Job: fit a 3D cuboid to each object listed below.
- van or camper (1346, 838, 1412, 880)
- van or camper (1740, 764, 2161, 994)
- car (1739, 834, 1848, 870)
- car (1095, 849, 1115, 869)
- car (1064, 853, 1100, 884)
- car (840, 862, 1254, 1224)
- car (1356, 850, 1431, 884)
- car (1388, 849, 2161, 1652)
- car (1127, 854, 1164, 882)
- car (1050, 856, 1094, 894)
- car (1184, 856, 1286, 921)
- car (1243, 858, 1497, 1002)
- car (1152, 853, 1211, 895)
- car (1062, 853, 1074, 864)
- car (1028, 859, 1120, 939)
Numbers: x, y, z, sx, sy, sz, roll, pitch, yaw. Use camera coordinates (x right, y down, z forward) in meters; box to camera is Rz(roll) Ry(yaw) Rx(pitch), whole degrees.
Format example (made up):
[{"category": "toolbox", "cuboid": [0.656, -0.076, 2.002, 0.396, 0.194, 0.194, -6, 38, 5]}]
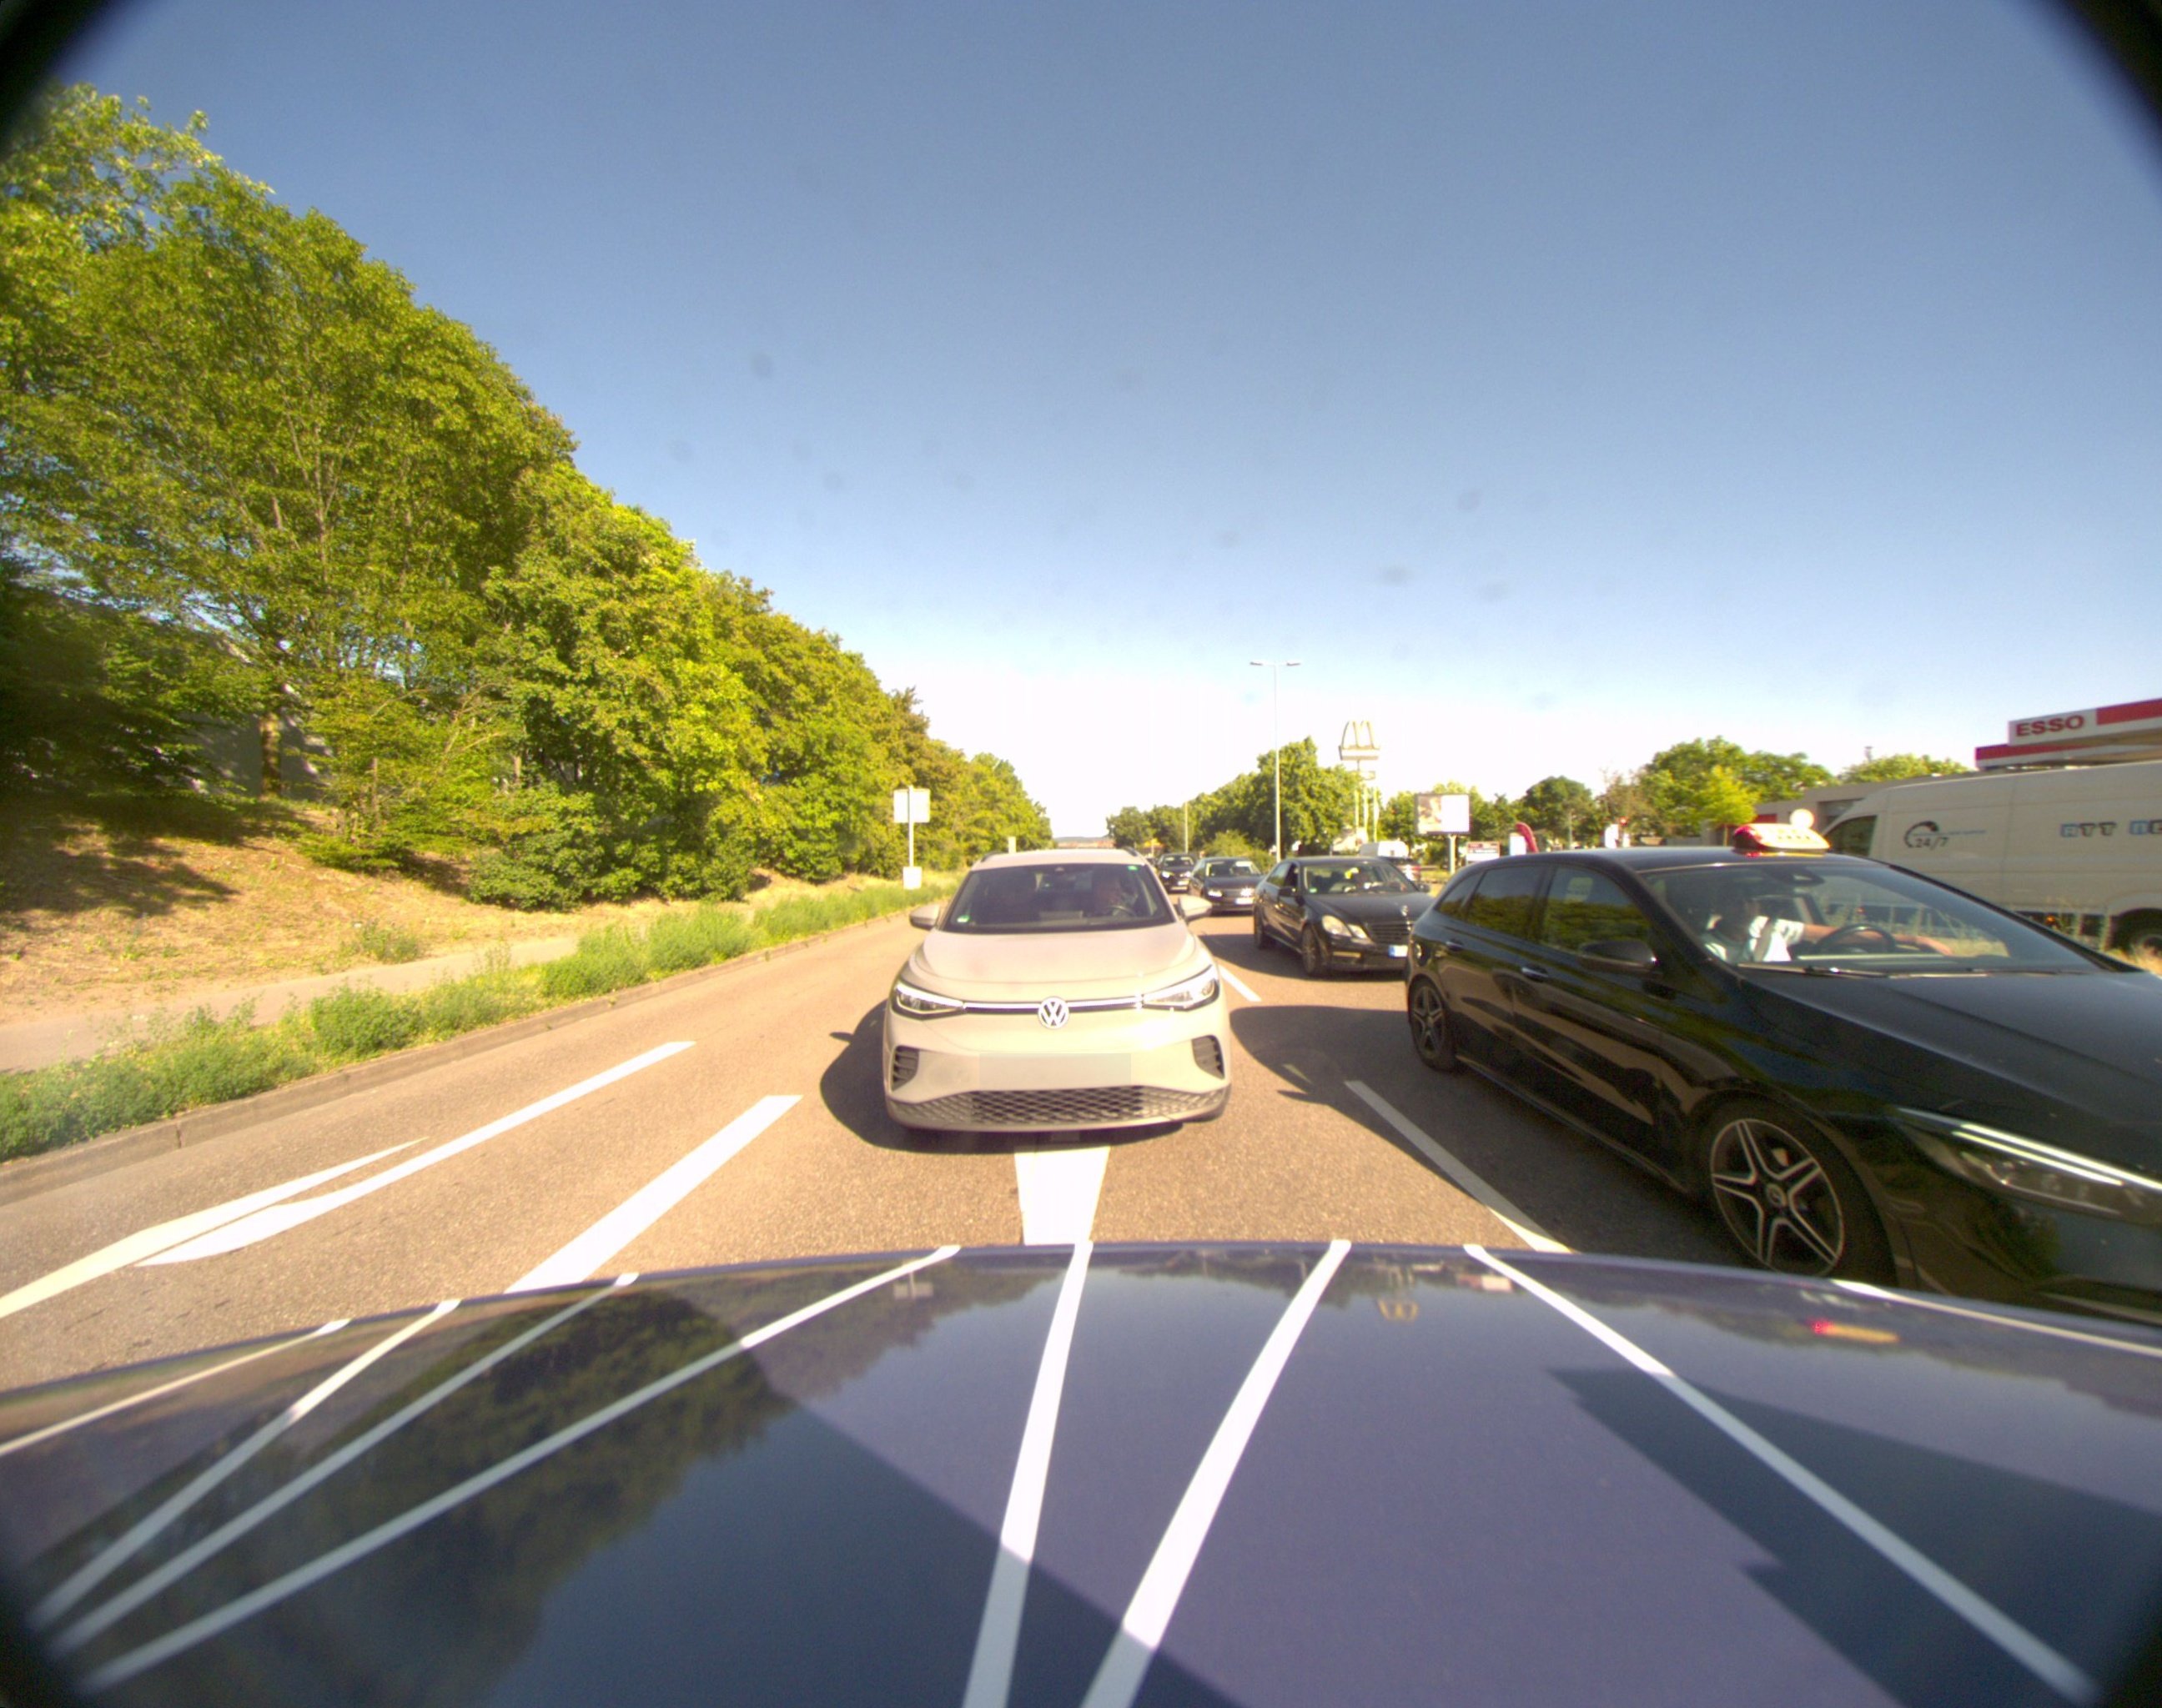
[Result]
[{"category": "van or camper", "cuboid": [20.025, 0.308, 51.384, 1.999, 2.635, 5.956, 1, 0, 0]}, {"category": "van or camper", "cuboid": [13.137, 0.260, 10.524, 2.183, 2.557, 6.754, -1, 0, 1]}, {"category": "car", "cuboid": [37.734, -0.097, 40.371, 1.998, 1.759, 4.118, -2, 0, 2]}, {"category": "car", "cuboid": [2.756, 0.550, 88.664, 2.289, 2.274, 5.381, -1, 0, 1]}, {"category": "car", "cuboid": [0.083, 0.744, 40.797, 1.765, 1.503, 3.760, -2, 0, 1]}, {"category": "car", "cuboid": [-0.131, 0.898, 5.477, 1.871, 1.588, 3.932, -2, 0, 1]}, {"category": "car", "cuboid": [16.608, 0.649, 40.608, 1.999, 1.643, 4.613, 1, 0, -1]}, {"category": "car", "cuboid": [3.155, 0.808, 3.582, 1.804, 1.616, 4.188, -1, 0, 2]}, {"category": "car", "cuboid": [3.819, 0.798, 45.444, 1.862, 1.578, 4.403, -1, 0, 1]}, {"category": "car", "cuboid": [-0.343, 0.886, 33.232, 1.765, 1.503, 3.760, -2, 0, 1]}, {"category": "car", "cuboid": [3.947, 0.827, 20.249, 1.862, 1.472, 4.403, -1, 0, 1]}, {"category": "car", "cuboid": [3.636, 0.849, 10.515, 1.862, 1.515, 4.403, -1, 0, 1]}, {"category": "car", "cuboid": [4.074, 0.773, 31.456, 1.862, 1.578, 4.403, -1, 0, 1]}, {"category": "car", "cuboid": [-2.471, 0.882, 145.019, 2.289, 2.037, 5.381, -1, 0, -1]}, {"category": "car", "cuboid": [-0.113, 0.898, 16.794, 1.765, 1.503, 3.760, -2, 0, 1]}]
